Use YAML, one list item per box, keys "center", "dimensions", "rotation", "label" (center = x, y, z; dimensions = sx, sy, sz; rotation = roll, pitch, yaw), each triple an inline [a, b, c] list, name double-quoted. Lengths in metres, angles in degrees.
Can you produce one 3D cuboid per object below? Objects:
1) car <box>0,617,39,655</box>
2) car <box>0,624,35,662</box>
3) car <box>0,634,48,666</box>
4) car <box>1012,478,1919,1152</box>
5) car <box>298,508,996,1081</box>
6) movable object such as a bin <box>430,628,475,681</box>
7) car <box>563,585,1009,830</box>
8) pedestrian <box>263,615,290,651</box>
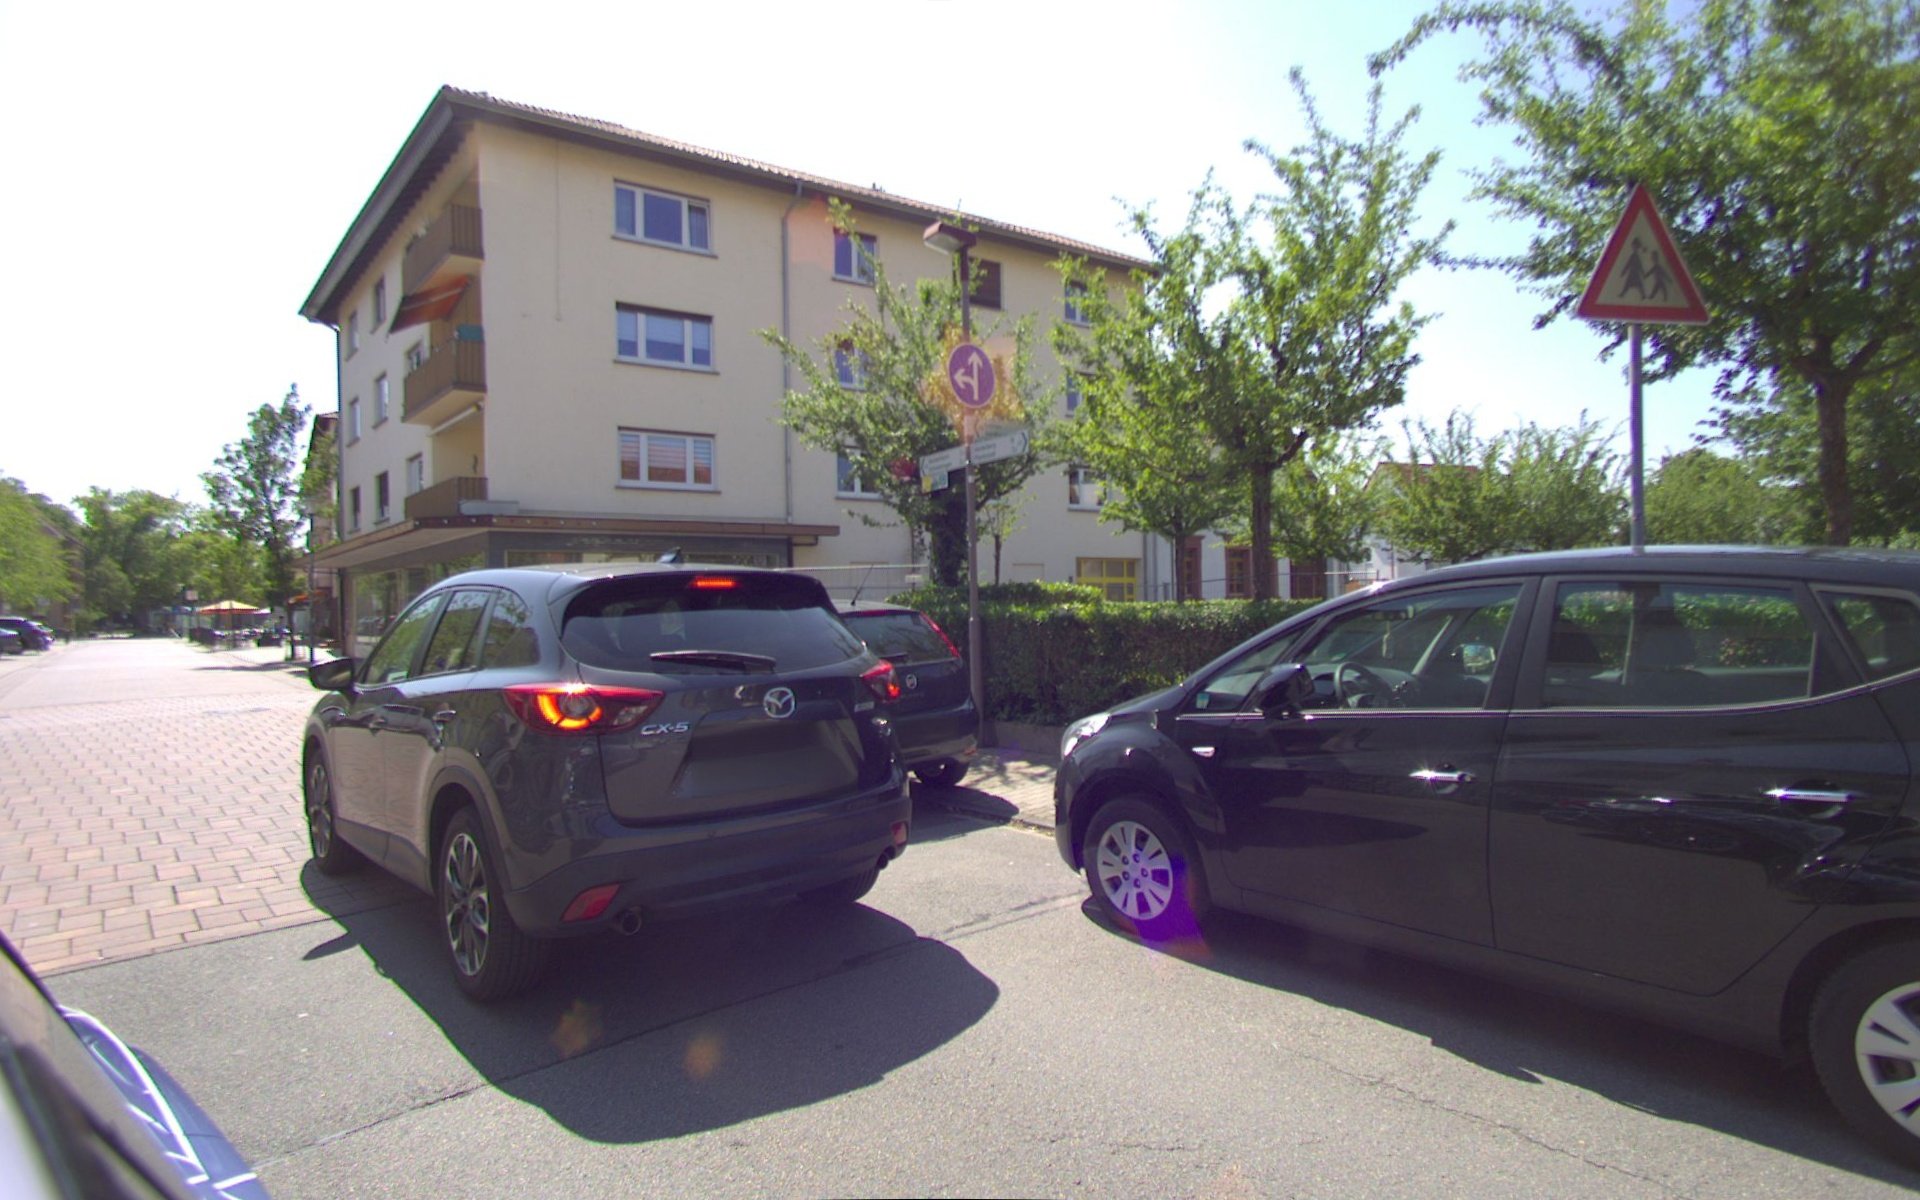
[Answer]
- center: [-42.102, 1.538, 43.082]
  dimensions: [4.191, 1.630, 1.759]
  rotation: [1, -2, -41]
  label: "car"
- center: [-38.324, 1.642, 38.470]
  dimensions: [1.884, 1.474, 4.340]
  rotation: [-1, -2, 31]
  label: "car"
- center: [-49.601, 2.614, 51.611]
  dimensions: [4.517, 1.555, 1.810]
  rotation: [-1, -1, -40]
  label: "car"
- center: [2.236, 0.533, 3.914]
  dimensions: [1.792, 1.617, 4.031]
  rotation: [-1, -1, -39]
  label: "car"
- center: [-1.928, 0.605, 5.163]
  dimensions: [1.858, 1.681, 4.159]
  rotation: [-1, -1, -41]
  label: "car"
- center: [-10.693, 1.139, 21.328]
  dimensions: [0.664, 1.078, 0.648]
  rotation: [-2, 0, 43]
  label: "movable object such as a bin"
- center: [-1.591, 0.695, 8.221]
  dimensions: [1.682, 1.508, 3.860]
  rotation: [-1, -1, -44]
  label: "car"
- center: [-35.461, 1.702, 52.498]
  dimensions: [0.749, 1.794, 0.870]
  rotation: [-2, 0, 0]
  label: "pedestrian"
